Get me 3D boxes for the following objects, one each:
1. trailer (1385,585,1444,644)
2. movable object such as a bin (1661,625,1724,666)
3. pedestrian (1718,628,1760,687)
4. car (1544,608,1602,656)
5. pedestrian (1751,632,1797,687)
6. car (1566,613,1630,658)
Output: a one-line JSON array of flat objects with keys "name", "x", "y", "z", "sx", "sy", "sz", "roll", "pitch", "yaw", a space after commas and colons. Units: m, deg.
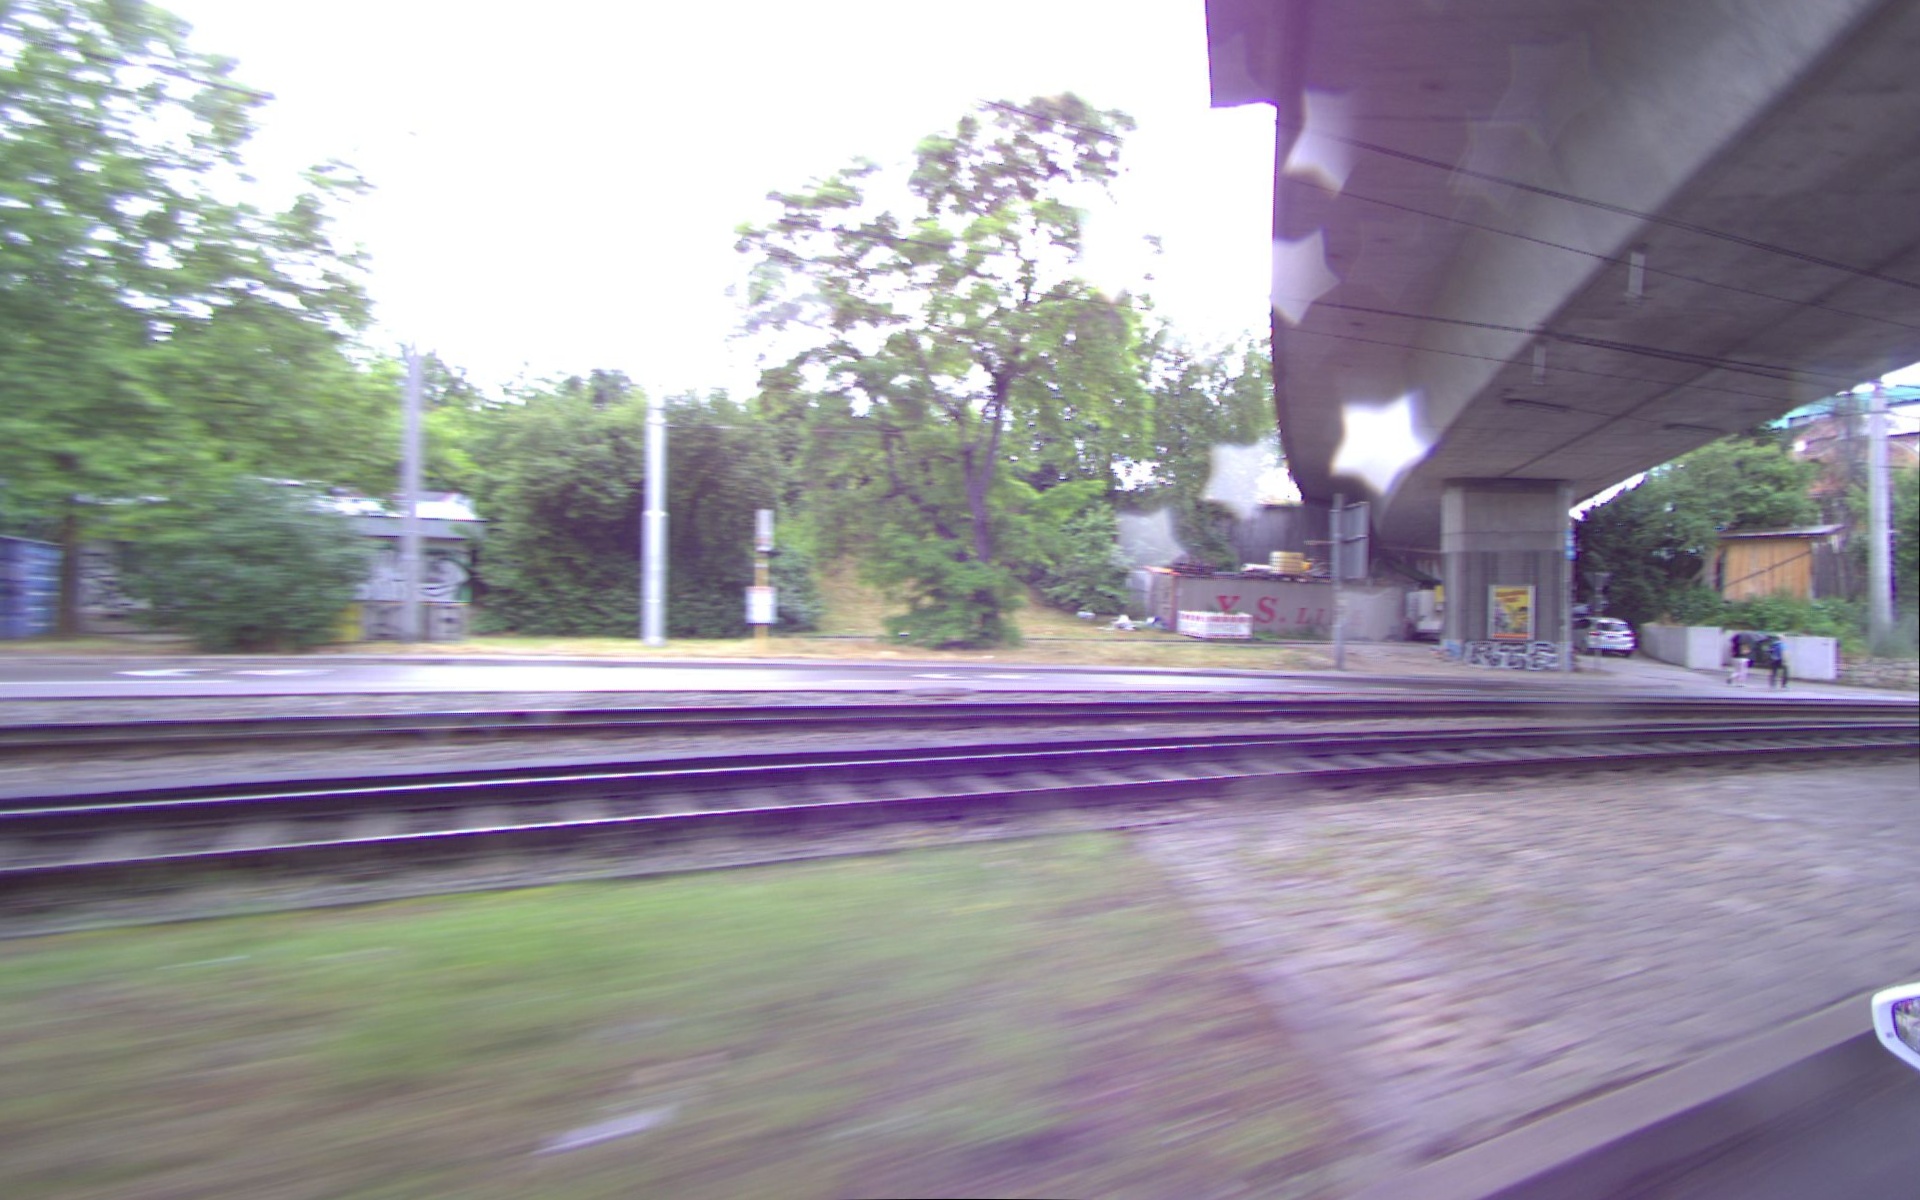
[{"name": "trailer", "x": 22.385, "y": 0.696, "z": 49.649, "sx": 1.960, "sy": 2.761, "sz": 4.125, "roll": 2, "pitch": 0, "yaw": 16}, {"name": "movable object such as a bin", "x": 29.880, "y": 1.837, "z": 41.011, "sx": 1.531, "sy": 1.499, "sz": 1.802, "roll": 2, "pitch": 2, "yaw": 18}, {"name": "pedestrian", "x": 25.369, "y": 1.866, "z": 32.715, "sx": 0.852, "sy": 1.855, "sz": 0.693, "roll": 1, "pitch": 1, "yaw": -17}, {"name": "car", "x": 29.973, "y": 1.505, "z": 49.208, "sx": 1.763, "sy": 2.067, "sz": 3.196, "roll": 3, "pitch": 3, "yaw": 21}, {"name": "pedestrian", "x": 25.841, "y": 1.870, "z": 31.894, "sx": 0.873, "sy": 1.692, "sz": 0.694, "roll": 1, "pitch": 1, "yaw": -14}, {"name": "car", "x": 28.179, "y": 1.535, "z": 44.460, "sx": 1.686, "sy": 1.690, "sz": 3.196, "roll": 3, "pitch": 3, "yaw": 21}]
